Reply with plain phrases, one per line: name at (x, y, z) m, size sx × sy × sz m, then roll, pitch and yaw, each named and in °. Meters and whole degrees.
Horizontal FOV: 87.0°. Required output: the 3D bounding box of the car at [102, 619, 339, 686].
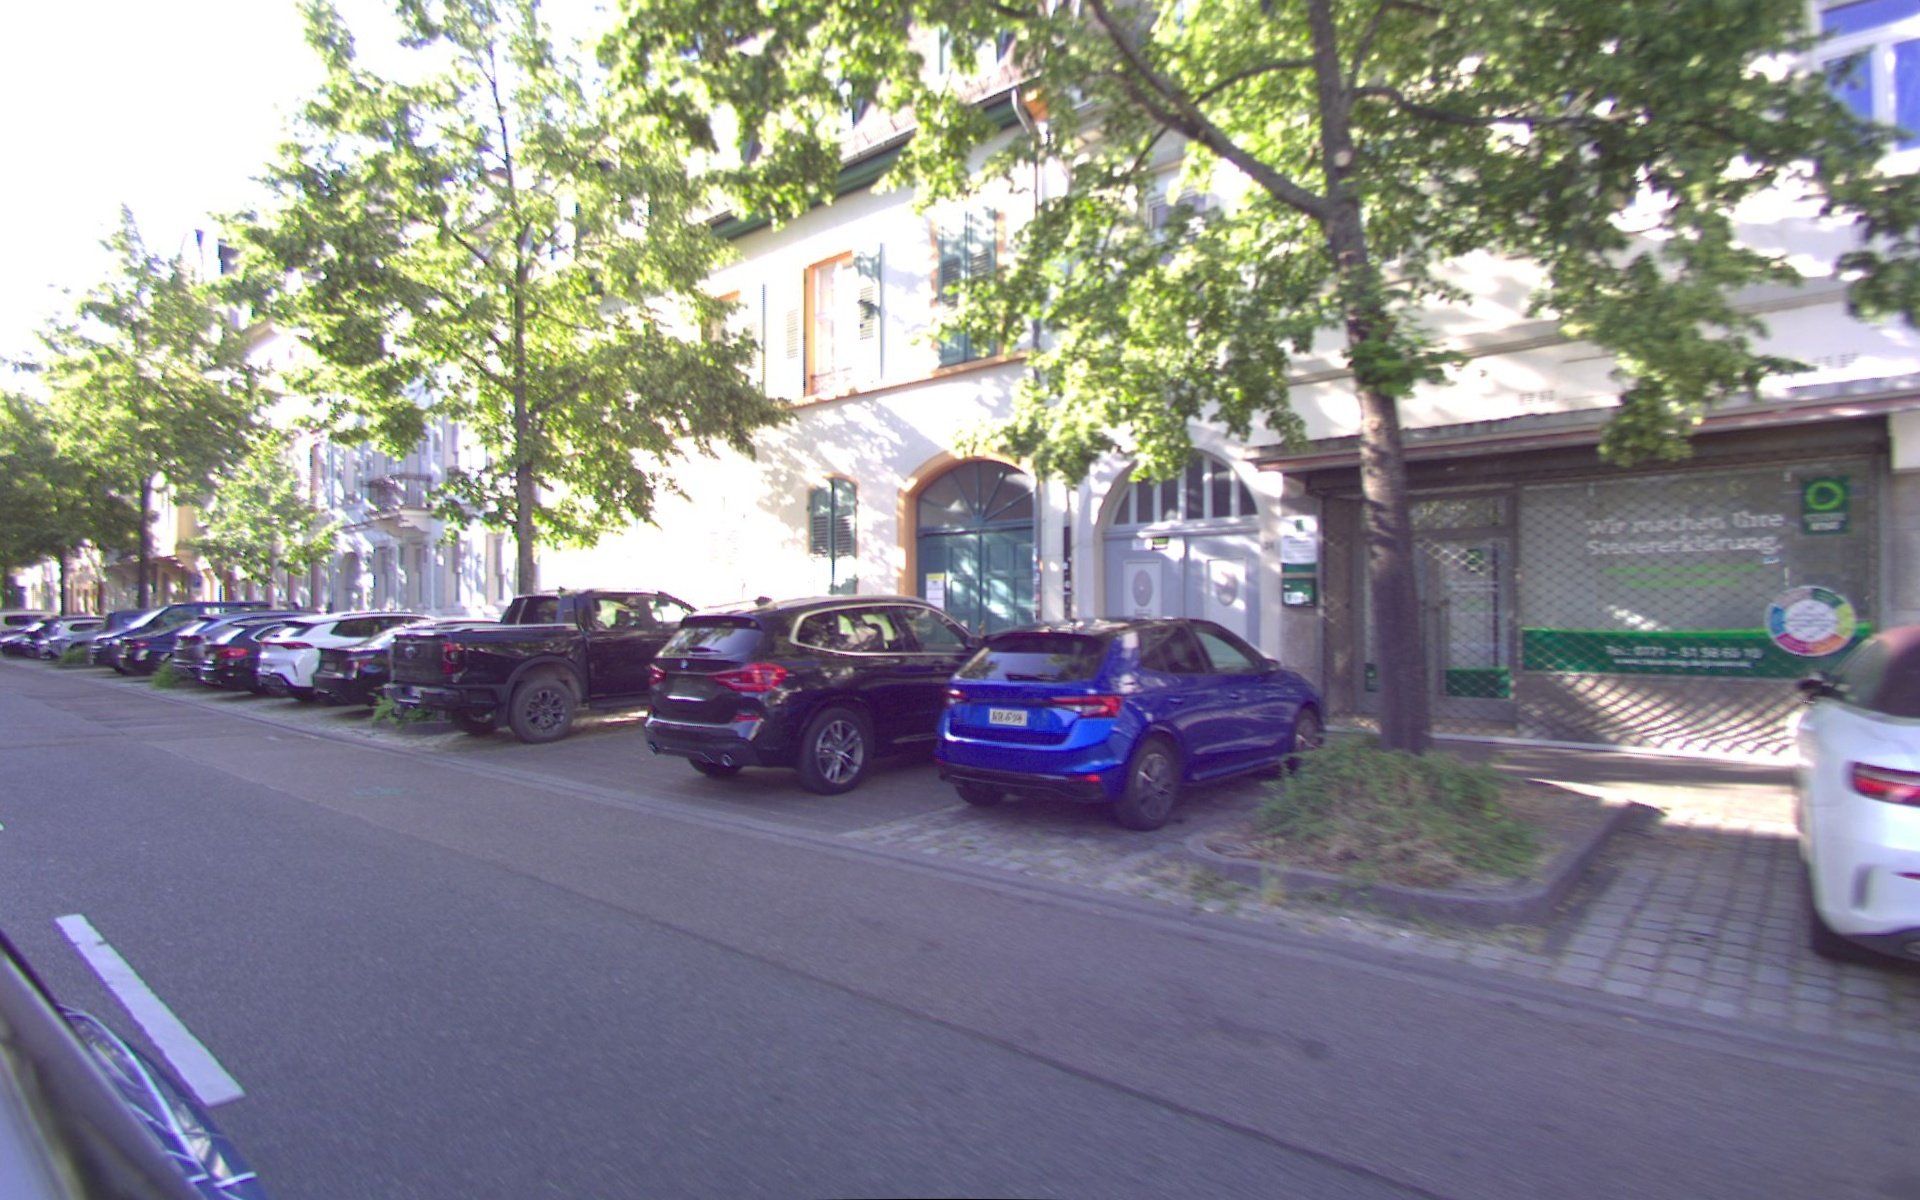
car at (-18.522, 1.253, 25.547) m, size 1.683 × 1.470 × 4.598 m, roll -1°, pitch -1°, yaw 41°

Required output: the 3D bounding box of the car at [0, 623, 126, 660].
car at (-39.423, 1.772, 44.272) m, size 1.914 × 1.450 × 4.297 m, roll -1°, pitch -1°, yaw 39°

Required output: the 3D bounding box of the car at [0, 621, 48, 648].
car at (-56.864, 2.065, 59.633) m, size 1.956 × 1.556 × 4.310 m, roll -1°, pitch -1°, yaw 29°

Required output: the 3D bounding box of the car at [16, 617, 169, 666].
car at (-33.532, 1.566, 39.209) m, size 1.915 × 1.722 × 4.294 m, roll -1°, pitch -1°, yaw 41°

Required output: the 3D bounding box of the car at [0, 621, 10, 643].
car at (-71.554, 2.328, 72.999) m, size 1.944 × 1.556 × 4.292 m, roll -1°, pitch -1°, yaw 43°

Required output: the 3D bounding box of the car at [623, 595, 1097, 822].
car at (-0.724, 0.824, 9.928) m, size 1.808 × 1.706 × 4.630 m, roll -1°, pitch -1°, yaw 42°

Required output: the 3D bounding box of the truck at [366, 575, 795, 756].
truck at (-4.794, 0.778, 13.518) m, size 1.999 × 1.953 × 5.033 m, roll -1°, pitch -2°, yaw 40°

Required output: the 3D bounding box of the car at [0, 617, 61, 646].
car at (-53.183, 1.752, 56.371) m, size 1.911 × 1.556 × 4.303 m, roll -1°, pitch -1°, yaw 34°

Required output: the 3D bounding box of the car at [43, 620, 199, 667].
car at (-31.563, 1.593, 38.163) m, size 1.808 × 1.594 × 4.294 m, roll -1°, pitch -1°, yaw 41°

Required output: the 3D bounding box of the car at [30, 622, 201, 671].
car at (-30.068, 1.610, 36.140) m, size 1.915 × 1.552 × 4.421 m, roll -1°, pitch -1°, yaw 40°

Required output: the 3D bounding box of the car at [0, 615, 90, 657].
car at (-45.504, 1.742, 49.318) m, size 1.930 × 1.941 × 4.523 m, roll -1°, pitch -1°, yaw 43°

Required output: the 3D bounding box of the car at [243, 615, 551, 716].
car at (-10.184, 1.090, 18.601) m, size 1.808 × 1.584 × 4.630 m, roll -1°, pitch -1°, yaw 42°

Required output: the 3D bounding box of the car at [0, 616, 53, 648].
car at (-55.170, 1.844, 58.088) m, size 1.924 × 1.838 × 4.304 m, roll -1°, pitch -1°, yaw 33°

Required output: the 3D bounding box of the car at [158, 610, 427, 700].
car at (-14.487, 1.106, 22.189) m, size 1.808 × 1.725 × 4.630 m, roll -1°, pitch -1°, yaw 42°

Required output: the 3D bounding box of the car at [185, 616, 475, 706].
car at (-12.432, 1.123, 20.234) m, size 1.808 × 1.531 × 4.630 m, roll -1°, pitch -1°, yaw 42°

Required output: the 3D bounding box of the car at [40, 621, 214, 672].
car at (-28.269, 1.511, 34.435) m, size 1.917 × 1.552 × 4.416 m, roll -1°, pitch -1°, yaw 44°

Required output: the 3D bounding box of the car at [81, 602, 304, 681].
car at (-21.006, 1.062, 27.855) m, size 1.916 × 1.965 × 4.630 m, roll -1°, pitch -1°, yaw 42°

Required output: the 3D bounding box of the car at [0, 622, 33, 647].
car at (-62.094, 2.226, 64.094) m, size 1.996 × 1.503 × 4.657 m, roll 0°, pitch 1°, yaw 36°

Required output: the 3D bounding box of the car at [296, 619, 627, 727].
car at (-8.122, 1.096, 16.867) m, size 1.808 × 1.474 × 4.630 m, roll -1°, pitch -1°, yaw 42°

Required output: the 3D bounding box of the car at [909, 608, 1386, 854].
car at (1.845, 0.831, 8.561) m, size 1.808 × 1.474 × 4.630 m, roll -1°, pitch -1°, yaw 42°

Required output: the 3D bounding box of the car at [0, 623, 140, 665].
car at (-35.826, 1.720, 40.557) m, size 1.916 × 1.552 × 4.417 m, roll -1°, pitch -1°, yaw 43°

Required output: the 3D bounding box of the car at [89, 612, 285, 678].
car at (-23.085, 1.283, 30.344) m, size 1.916 × 1.785 × 4.418 m, roll -1°, pitch -1°, yaw 42°

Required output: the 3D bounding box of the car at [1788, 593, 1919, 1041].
car at (5.143, 0.706, 4.729) m, size 1.805 × 1.476 × 4.636 m, roll -1°, pitch -1°, yaw 38°

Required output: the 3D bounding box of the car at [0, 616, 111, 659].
car at (-41.783, 1.679, 46.169) m, size 1.910 × 1.848 × 4.308 m, roll -1°, pitch -1°, yaw 31°
